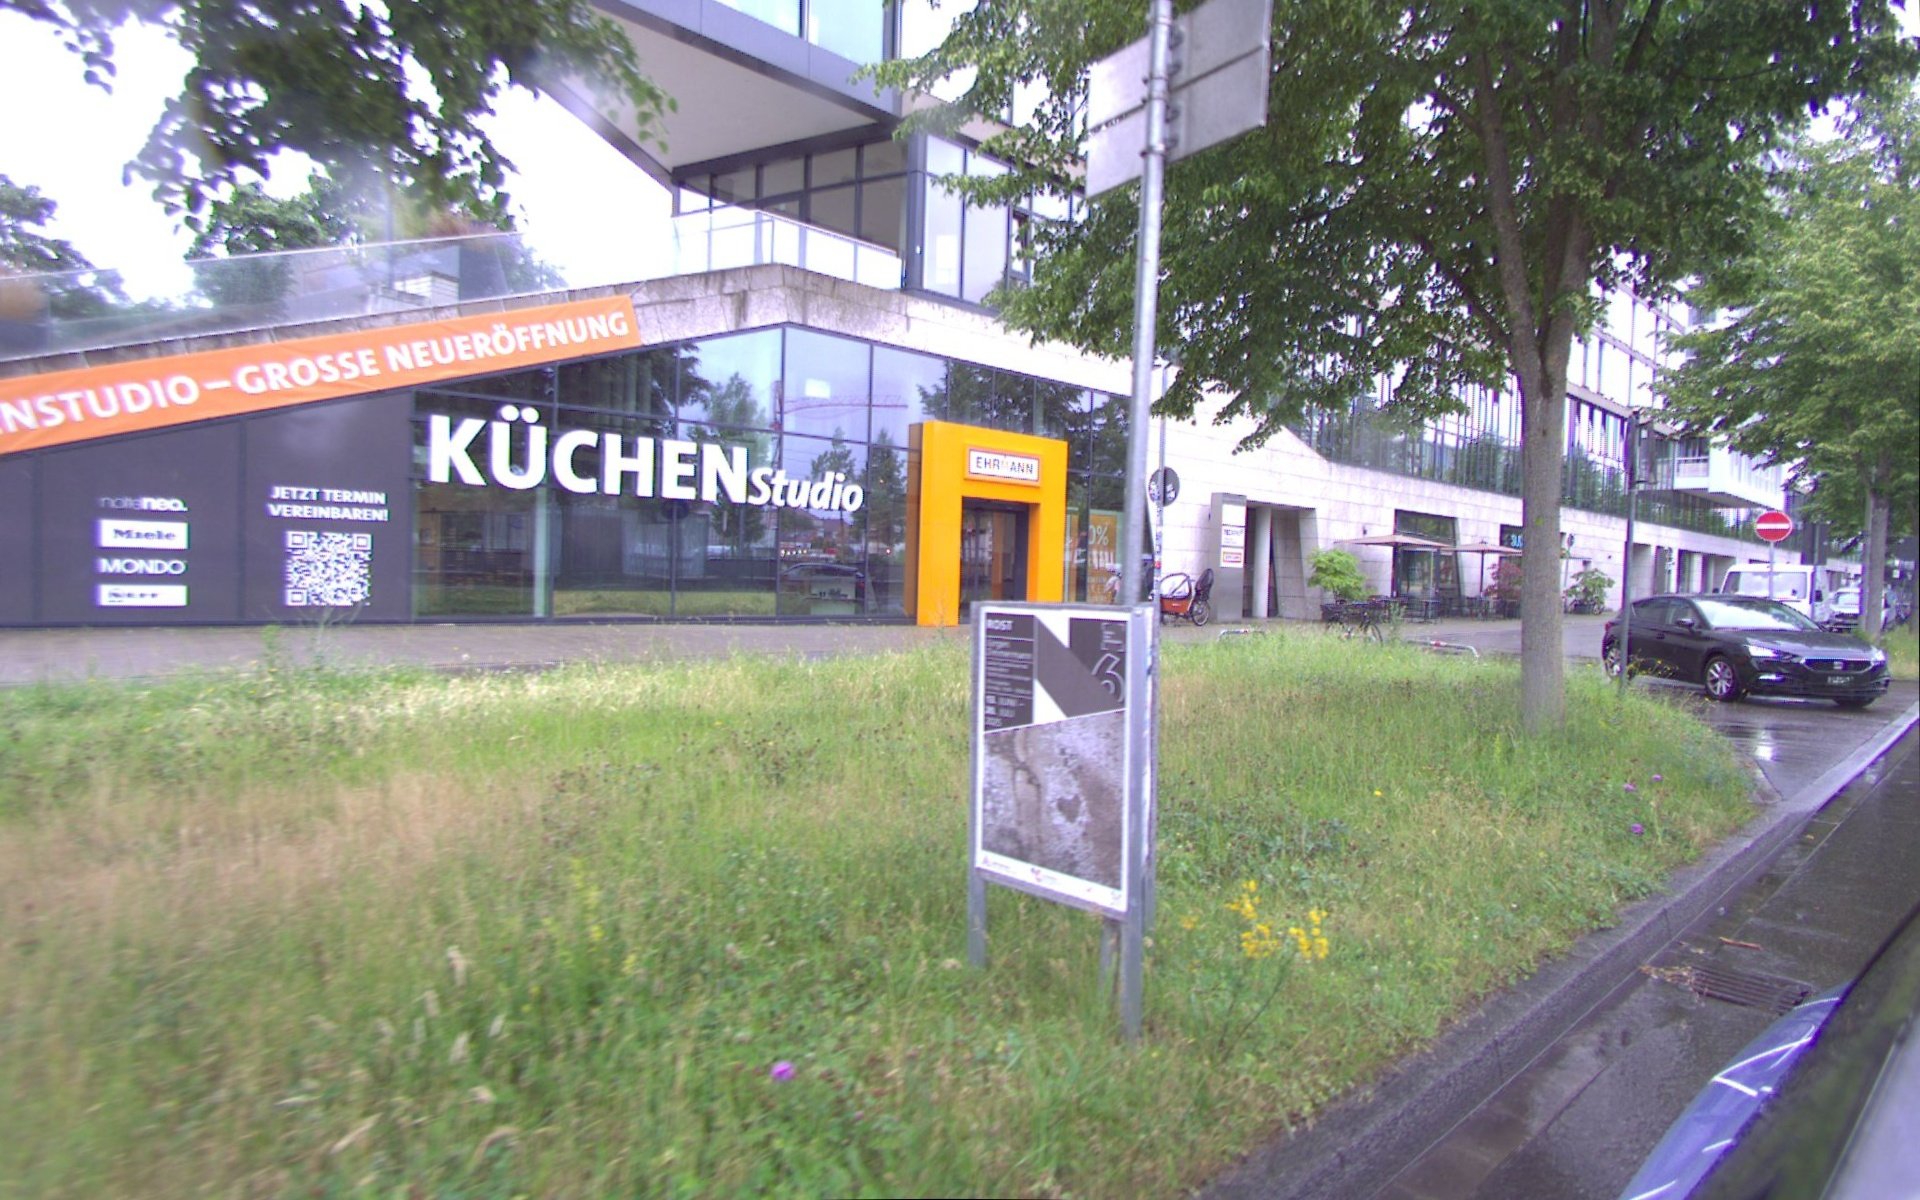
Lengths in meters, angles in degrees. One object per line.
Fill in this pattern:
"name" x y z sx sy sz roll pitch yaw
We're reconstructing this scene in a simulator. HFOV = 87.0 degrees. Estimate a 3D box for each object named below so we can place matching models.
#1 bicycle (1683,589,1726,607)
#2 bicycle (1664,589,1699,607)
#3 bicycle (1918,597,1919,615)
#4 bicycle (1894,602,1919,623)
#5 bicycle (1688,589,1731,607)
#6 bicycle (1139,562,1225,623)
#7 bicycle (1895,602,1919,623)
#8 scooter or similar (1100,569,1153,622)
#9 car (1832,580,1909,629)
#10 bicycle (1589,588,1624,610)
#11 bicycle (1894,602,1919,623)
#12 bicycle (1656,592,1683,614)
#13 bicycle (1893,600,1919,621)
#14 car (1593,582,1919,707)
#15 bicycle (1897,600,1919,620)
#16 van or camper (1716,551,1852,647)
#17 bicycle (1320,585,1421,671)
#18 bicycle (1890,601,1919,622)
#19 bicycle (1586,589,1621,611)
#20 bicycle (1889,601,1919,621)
"bicycle" 44.754 -0.133 60.849 0.389 0.957 2.025 0 3 -45
"bicycle" 41.805 -0.122 58.640 0.339 0.957 1.665 1 3 -23
"bicycle" 53.221 0.315 54.748 0.511 0.958 2.035 0 0 -45
"bicycle" 43.805 0.579 46.218 0.389 0.958 1.694 0 0 -45
"bicycle" 45.711 -0.138 61.745 0.389 0.957 2.025 0 3 -45
"bicycle" 5.506 -0.183 24.970 2.382 1.419 0.734 1 3 -41
"bicycle" 44.253 0.563 46.684 0.389 0.958 1.645 0 0 -45
"scooter or similar" 3.946 -0.109 23.964 1.214 1.243 0.343 -1 0 -22
"car" 35.508 0.122 39.426 4.766 1.781 1.744 -1 2 -42
"bicycle" 29.430 -0.043 46.098 0.388 0.958 2.028 0 0 3
"bicycle" 43.293 0.564 45.651 0.389 0.958 1.662 0 0 -45
"bicycle" 32.406 0.127 46.218 1.823 0.957 0.403 0 1 -34
"bicycle" 46.155 0.501 48.542 0.389 0.958 2.035 0 0 -45
"car" 11.038 0.489 14.320 1.801 1.437 4.339 1 2 7
"bicycle" 47.159 0.485 49.404 0.389 0.958 2.035 0 0 -45
"van or camper" 22.054 -0.079 26.996 5.367 2.321 2.028 -1 2 -42
"bicycle" 6.896 0.437 17.110 0.521 1.363 1.852 2 0 -16
"bicycle" 44.506 0.532 47.082 0.389 0.958 1.788 0 0 -45
"bicycle" 28.782 -0.030 45.293 0.388 0.958 2.028 0 0 3
"bicycle" 45.001 0.522 47.620 0.389 0.958 1.857 0 0 -45
